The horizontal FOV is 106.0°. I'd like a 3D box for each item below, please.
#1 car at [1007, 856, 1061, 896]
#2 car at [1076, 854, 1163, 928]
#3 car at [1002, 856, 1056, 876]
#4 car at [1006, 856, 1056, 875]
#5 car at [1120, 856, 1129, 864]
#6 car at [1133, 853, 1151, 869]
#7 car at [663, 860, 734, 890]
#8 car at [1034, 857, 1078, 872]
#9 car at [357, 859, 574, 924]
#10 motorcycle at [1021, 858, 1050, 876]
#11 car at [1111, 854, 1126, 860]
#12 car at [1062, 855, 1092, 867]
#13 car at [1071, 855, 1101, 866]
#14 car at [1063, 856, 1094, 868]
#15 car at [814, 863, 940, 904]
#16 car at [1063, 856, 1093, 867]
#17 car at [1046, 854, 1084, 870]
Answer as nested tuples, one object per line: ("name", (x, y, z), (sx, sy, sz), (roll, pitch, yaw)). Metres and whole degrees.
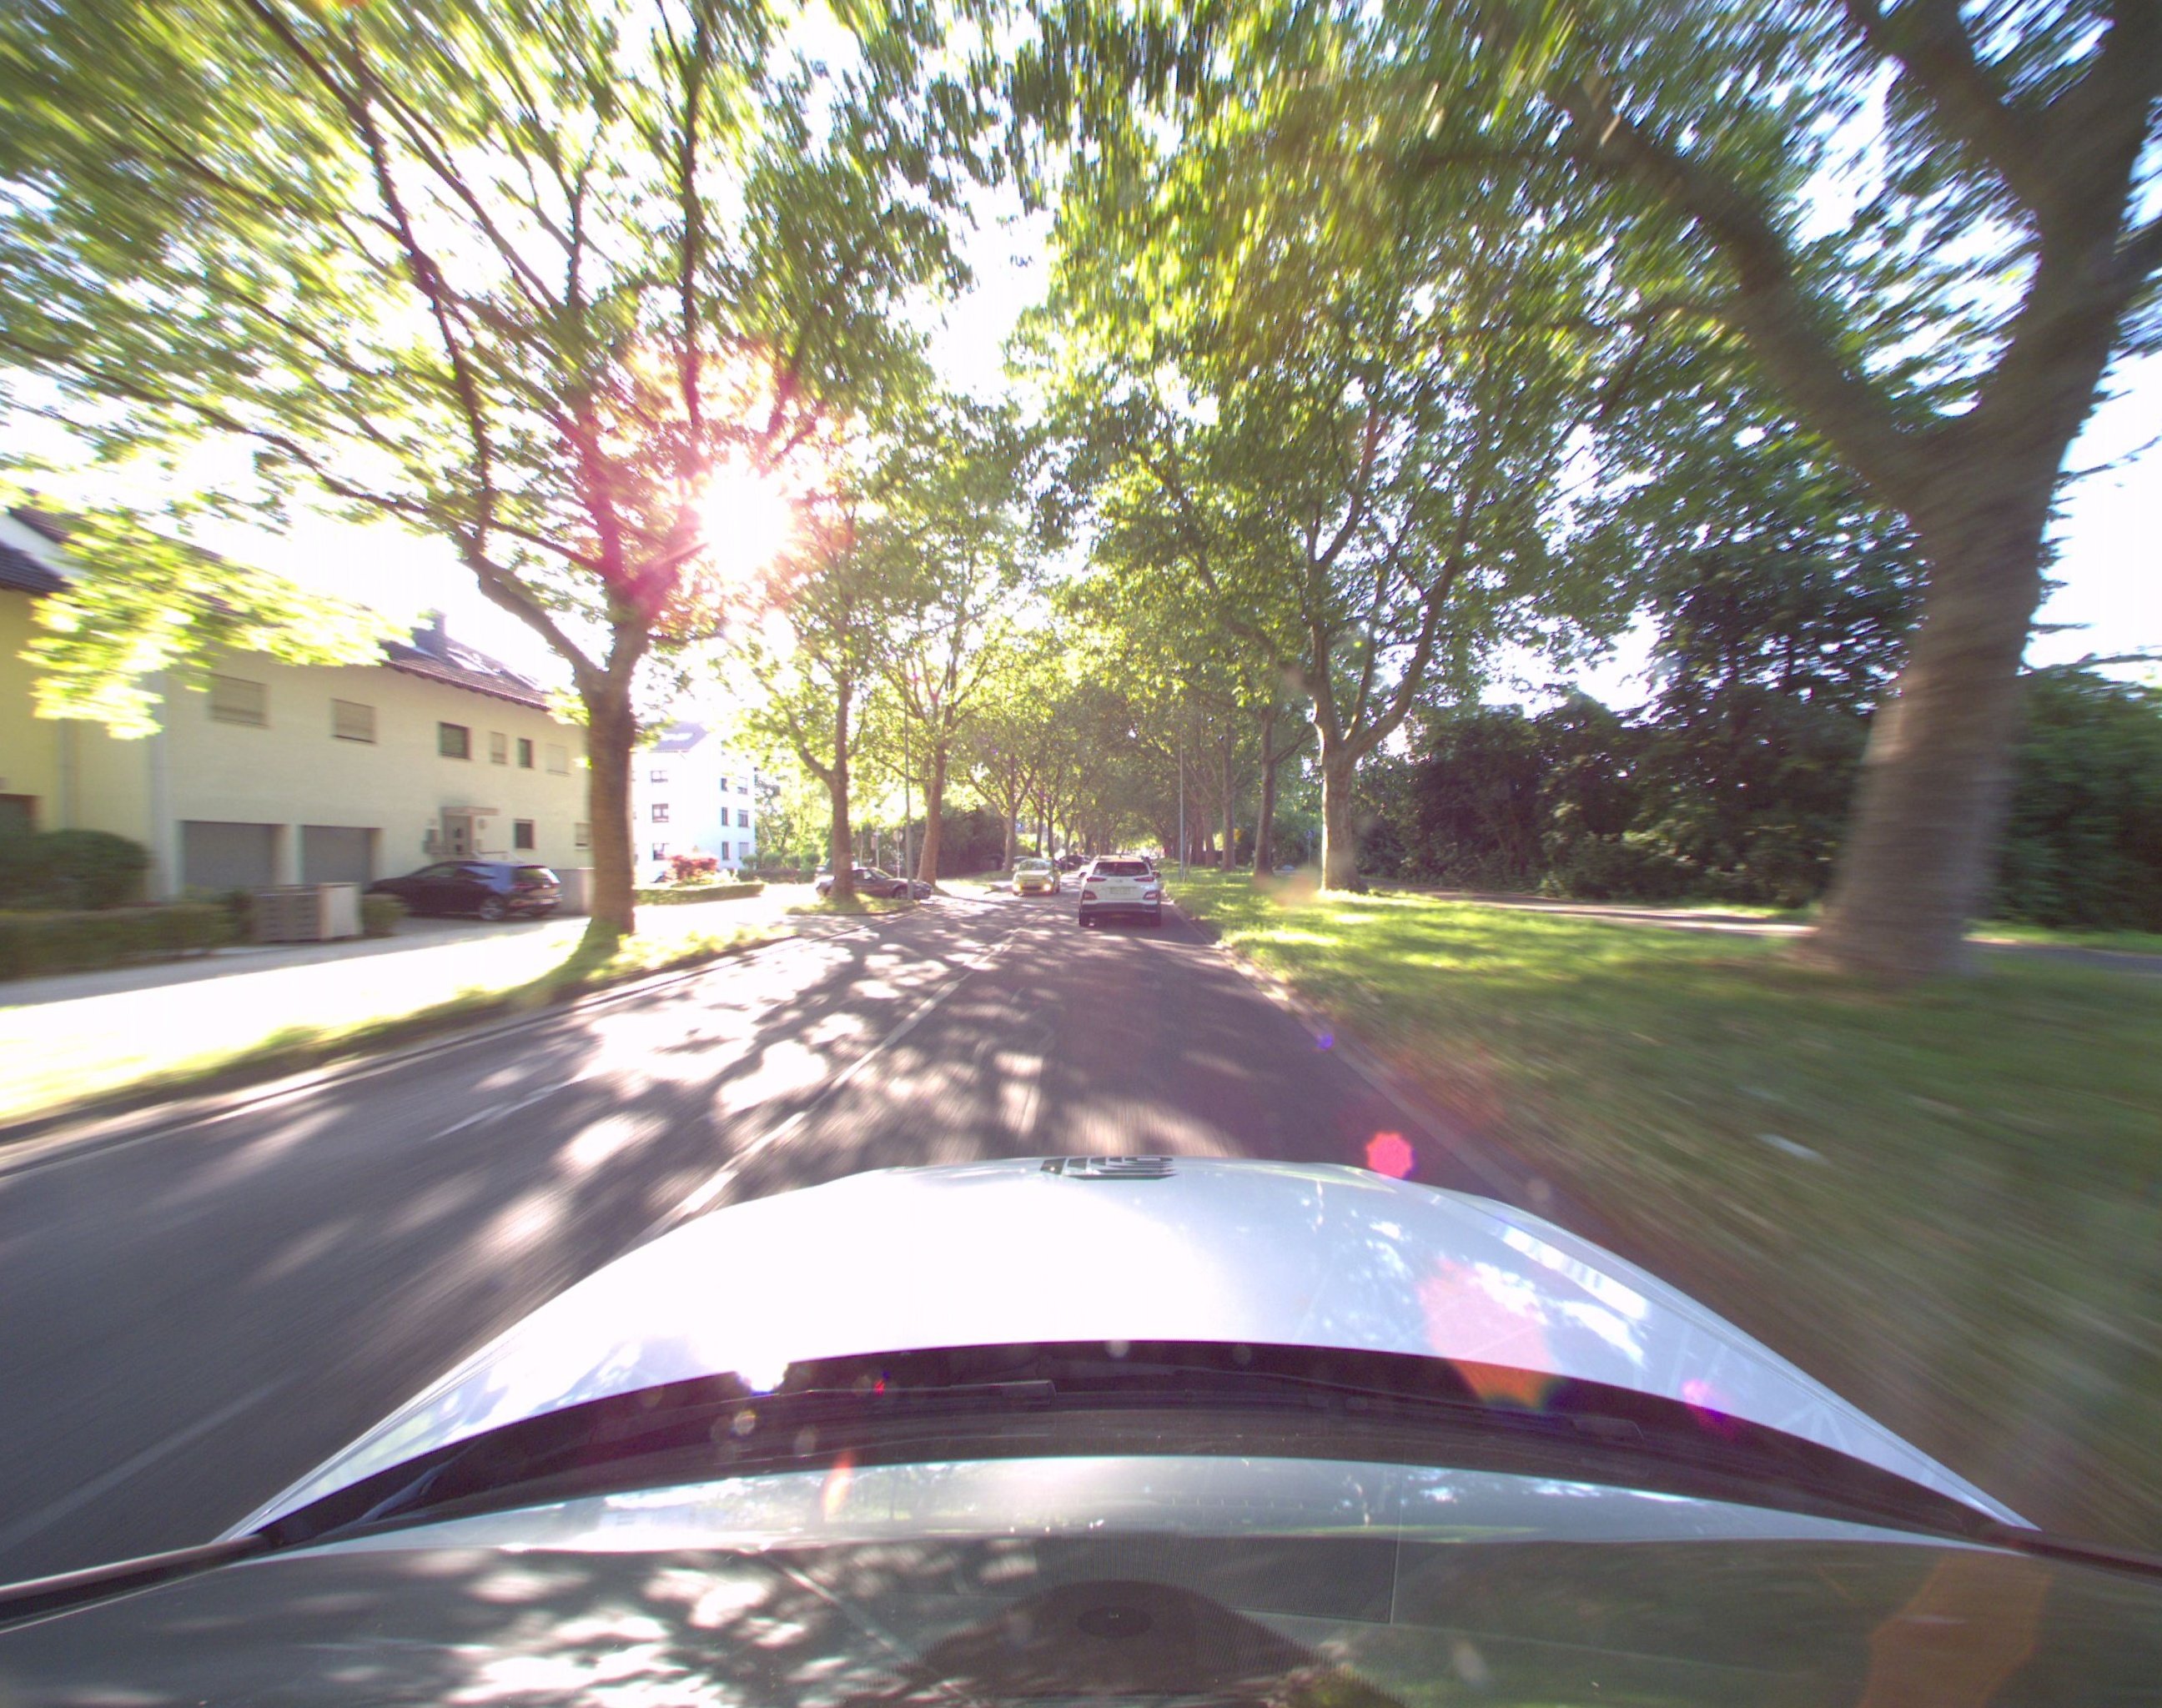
("car", (-1.884, 0.878, 33.914), (1.776, 1.512, 3.841), (-2, 0, 3))
("car", (0.833, 0.789, 19.316), (1.829, 1.555, 3.999), (-1, 0, 0))
("car", (-4.142, 0.963, 65.362), (4.169, 1.584, 2.000), (-1, -1, 0))
("car", (-4.266, 0.953, 70.400), (4.146, 1.506, 1.802), (-1, 0, 1))
("car", (7.464, 1.043, 140.478), (1.529, 1.459, 3.187), (-1, 0, 3))
("car", (6.699, 0.740, 89.179), (1.671, 1.696, 3.745), (-1, 0, 0))
("car", (-21.146, 1.144, 45.201), (1.987, 1.575, 4.000), (-1, 0, 1))
("car", (-2.487, 1.100, 82.007), (4.223, 1.353, 1.742), (-2, -1, 3))
("car", (-15.267, 0.893, 20.362), (3.971, 1.464, 1.902), (1, 0, 2))
("motorcycle", (-3.764, 1.055, 67.486), (2.378, 1.388, 0.648), (-1, 0, -1))
("car", (10.306, 0.787, 221.479), (3.974, 1.772, 2.000), (-1, -1, 0))
("car", (-0.577, 0.979, 112.875), (3.969, 1.520, 1.811), (-1, 0, 3))
("car", (0.699, 0.961, 115.225), (3.967, 1.470, 1.812), (-1, 0, 6))
("car", (-0.299, 1.045, 107.724), (3.969, 1.470, 1.782), (-1, 0, 3))
("car", (-6.929, 0.994, 27.909), (3.811, 1.316, 1.790), (0, 0, 1))
("car", (-0.335, 1.036, 109.766), (3.973, 1.424, 1.809), (-1, 0, 0))
("car", (-1.807, 0.930, 93.996), (4.224, 1.680, 1.673), (-1, 0, 4))
